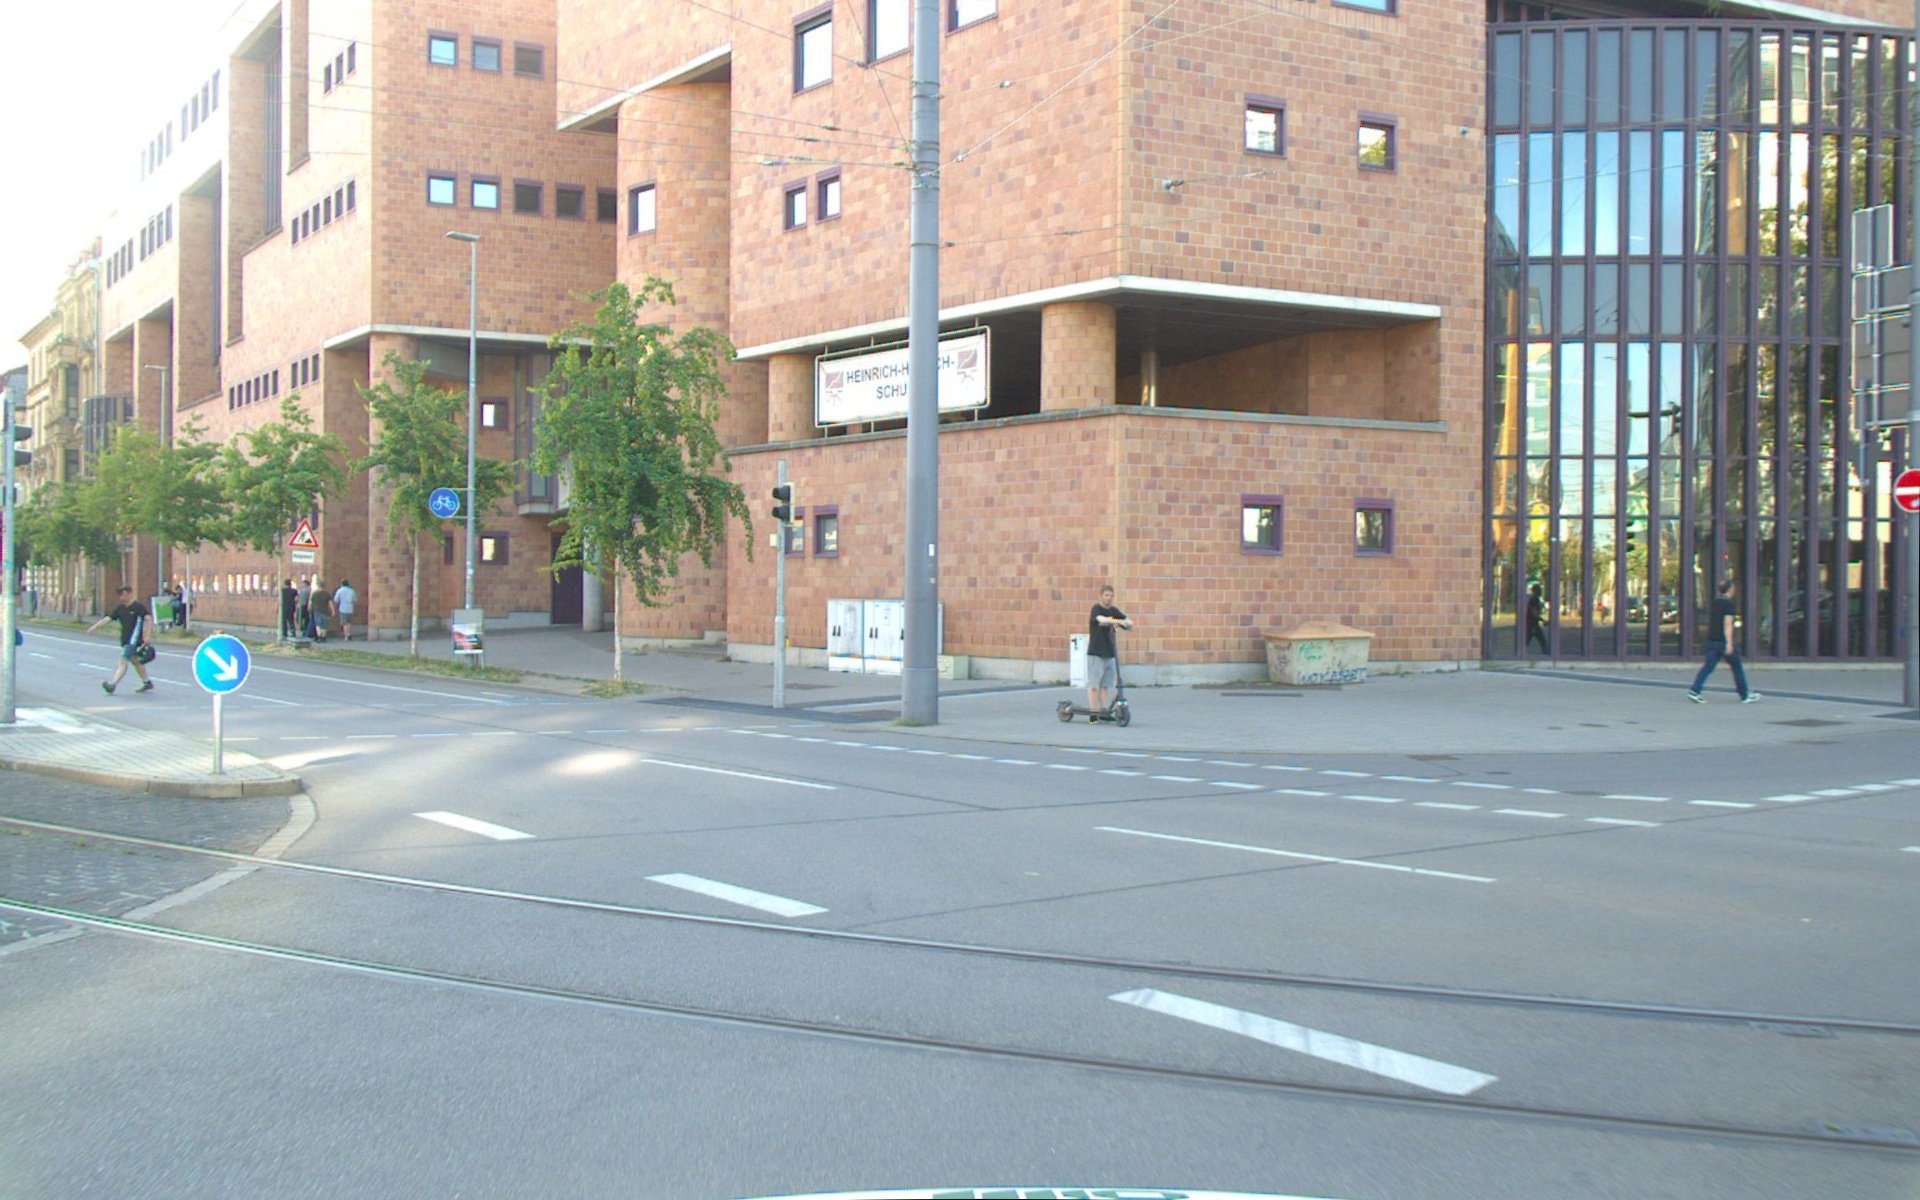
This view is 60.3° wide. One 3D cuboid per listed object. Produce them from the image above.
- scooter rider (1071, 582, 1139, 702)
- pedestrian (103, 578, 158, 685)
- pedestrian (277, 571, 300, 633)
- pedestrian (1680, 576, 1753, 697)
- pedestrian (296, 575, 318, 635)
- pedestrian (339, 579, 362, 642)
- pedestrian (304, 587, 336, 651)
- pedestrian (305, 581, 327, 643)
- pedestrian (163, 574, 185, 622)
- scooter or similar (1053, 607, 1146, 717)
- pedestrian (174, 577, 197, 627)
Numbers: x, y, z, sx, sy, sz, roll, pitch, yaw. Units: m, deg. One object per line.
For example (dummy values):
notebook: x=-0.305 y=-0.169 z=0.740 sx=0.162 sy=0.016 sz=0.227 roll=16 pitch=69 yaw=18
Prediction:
scooter rider: x=1.829 y=0.513 z=20.876 sx=0.504 sy=1.486 sz=0.710 roll=0 pitch=0 yaw=-45
pedestrian: x=-12.419 y=0.456 z=24.759 sx=0.705 sy=1.565 sz=0.843 roll=0 pitch=0 yaw=-29
pedestrian: x=-19.603 y=0.052 z=48.290 sx=0.533 sy=1.787 sz=0.458 roll=0 pitch=0 yaw=-39
pedestrian: x=11.088 y=0.529 z=24.267 sx=0.804 sy=1.746 sz=0.665 roll=0 pitch=0 yaw=5
pedestrian: x=-19.434 y=0.148 z=49.227 sx=0.532 sy=1.787 sz=0.416 roll=0 pitch=0 yaw=-36
pedestrian: x=-17.462 y=0.285 z=47.383 sx=0.530 sy=1.787 sz=0.689 roll=0 pitch=0 yaw=-27
pedestrian: x=-18.014 y=0.539 z=46.554 sx=0.720 sy=1.787 sz=0.693 roll=0 pitch=0 yaw=-12
pedestrian: x=-18.583 y=0.347 z=47.728 sx=0.530 sy=1.787 sz=0.689 roll=0 pitch=0 yaw=-27
pedestrian: x=-26.951 y=-0.074 z=56.710 sx=0.514 sy=1.633 sz=0.693 roll=0 pitch=0 yaw=-44
scooter or similar: x=1.759 y=0.769 z=20.943 sx=1.113 sy=1.341 sz=0.525 roll=0 pitch=0 yaw=45
pedestrian: x=-26.941 y=0.064 z=57.546 sx=0.568 sy=1.743 sz=0.631 roll=0 pitch=0 yaw=-43
